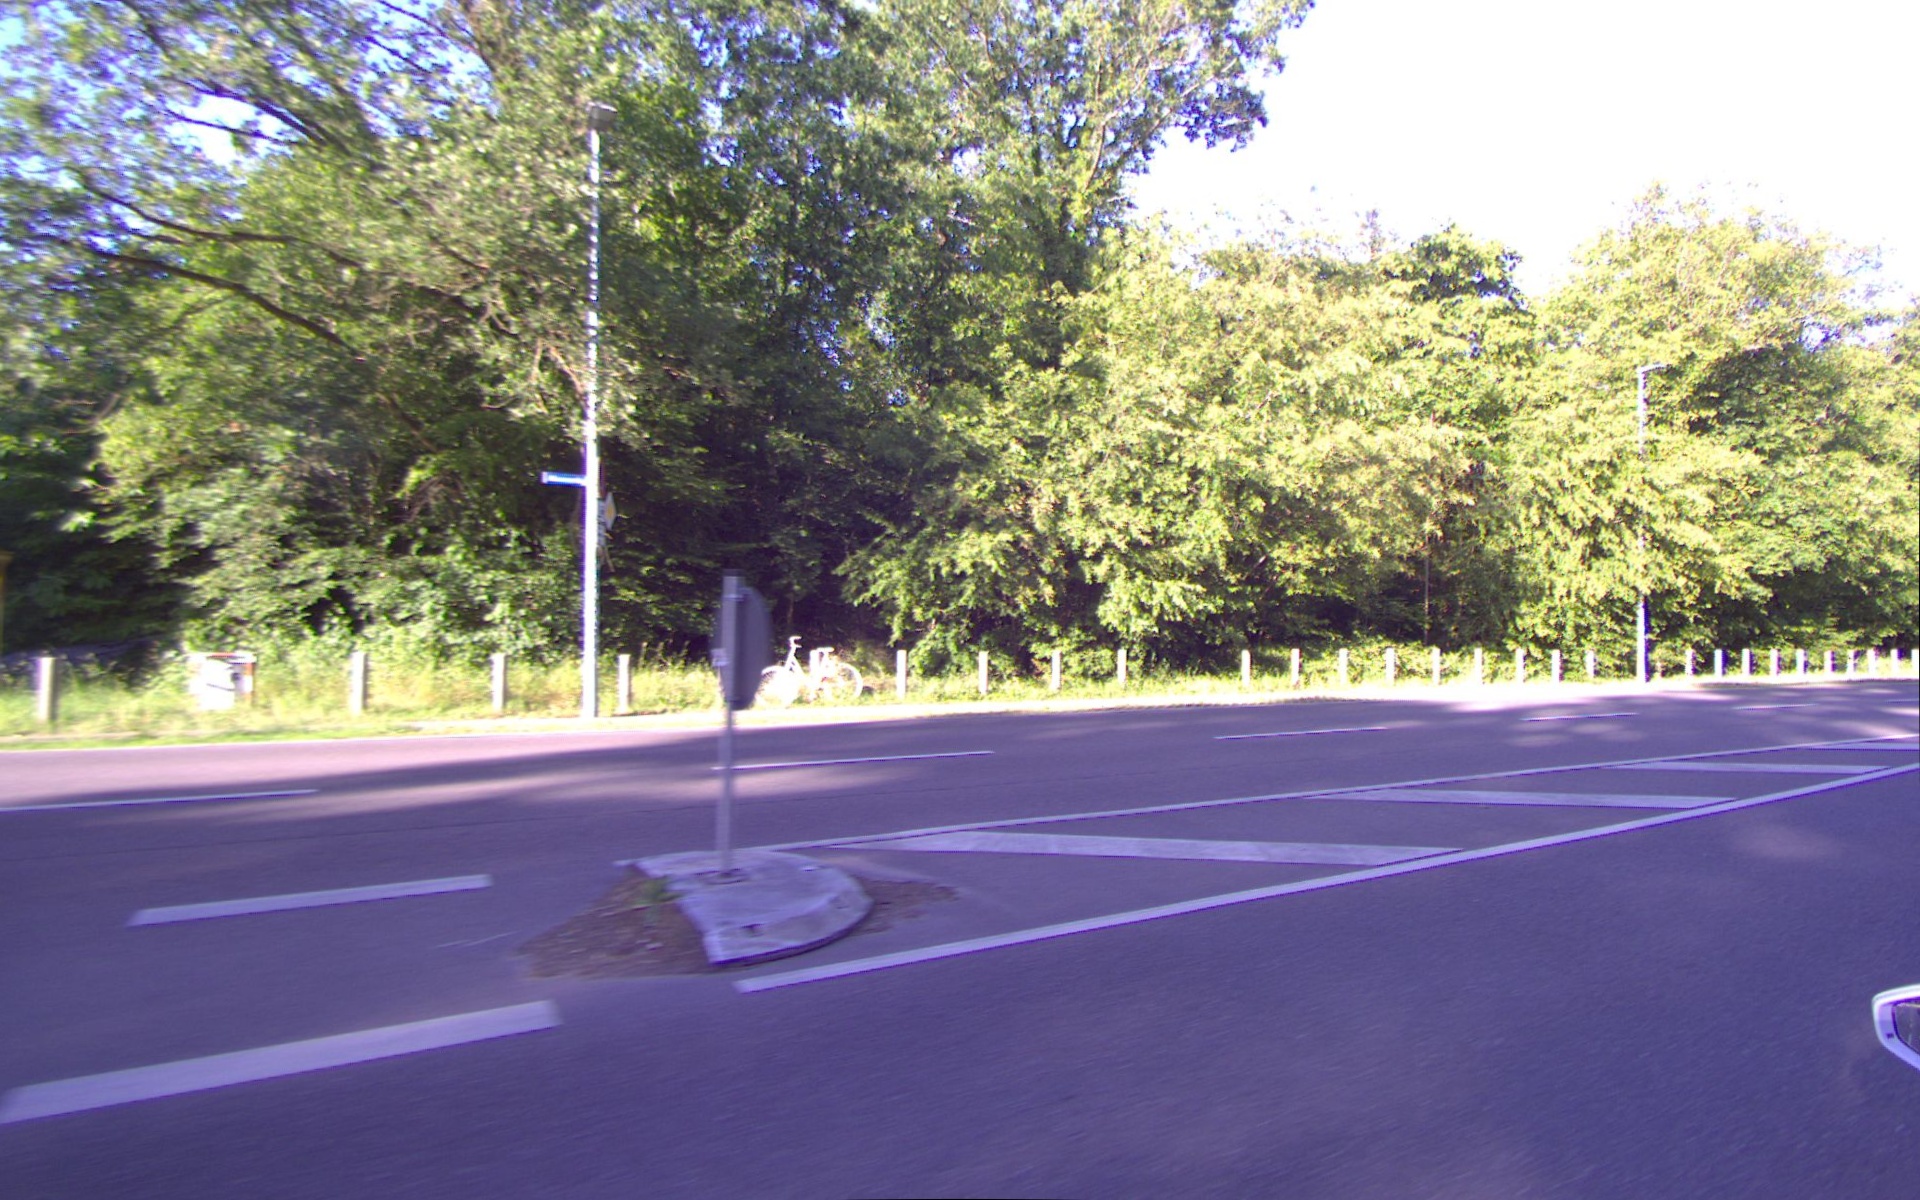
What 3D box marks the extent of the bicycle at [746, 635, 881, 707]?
[{"bbox_3d":[-2.452,1.189,16.910,2.185,1.147,0.400,1,1,-20],"label":"bicycle"}]
